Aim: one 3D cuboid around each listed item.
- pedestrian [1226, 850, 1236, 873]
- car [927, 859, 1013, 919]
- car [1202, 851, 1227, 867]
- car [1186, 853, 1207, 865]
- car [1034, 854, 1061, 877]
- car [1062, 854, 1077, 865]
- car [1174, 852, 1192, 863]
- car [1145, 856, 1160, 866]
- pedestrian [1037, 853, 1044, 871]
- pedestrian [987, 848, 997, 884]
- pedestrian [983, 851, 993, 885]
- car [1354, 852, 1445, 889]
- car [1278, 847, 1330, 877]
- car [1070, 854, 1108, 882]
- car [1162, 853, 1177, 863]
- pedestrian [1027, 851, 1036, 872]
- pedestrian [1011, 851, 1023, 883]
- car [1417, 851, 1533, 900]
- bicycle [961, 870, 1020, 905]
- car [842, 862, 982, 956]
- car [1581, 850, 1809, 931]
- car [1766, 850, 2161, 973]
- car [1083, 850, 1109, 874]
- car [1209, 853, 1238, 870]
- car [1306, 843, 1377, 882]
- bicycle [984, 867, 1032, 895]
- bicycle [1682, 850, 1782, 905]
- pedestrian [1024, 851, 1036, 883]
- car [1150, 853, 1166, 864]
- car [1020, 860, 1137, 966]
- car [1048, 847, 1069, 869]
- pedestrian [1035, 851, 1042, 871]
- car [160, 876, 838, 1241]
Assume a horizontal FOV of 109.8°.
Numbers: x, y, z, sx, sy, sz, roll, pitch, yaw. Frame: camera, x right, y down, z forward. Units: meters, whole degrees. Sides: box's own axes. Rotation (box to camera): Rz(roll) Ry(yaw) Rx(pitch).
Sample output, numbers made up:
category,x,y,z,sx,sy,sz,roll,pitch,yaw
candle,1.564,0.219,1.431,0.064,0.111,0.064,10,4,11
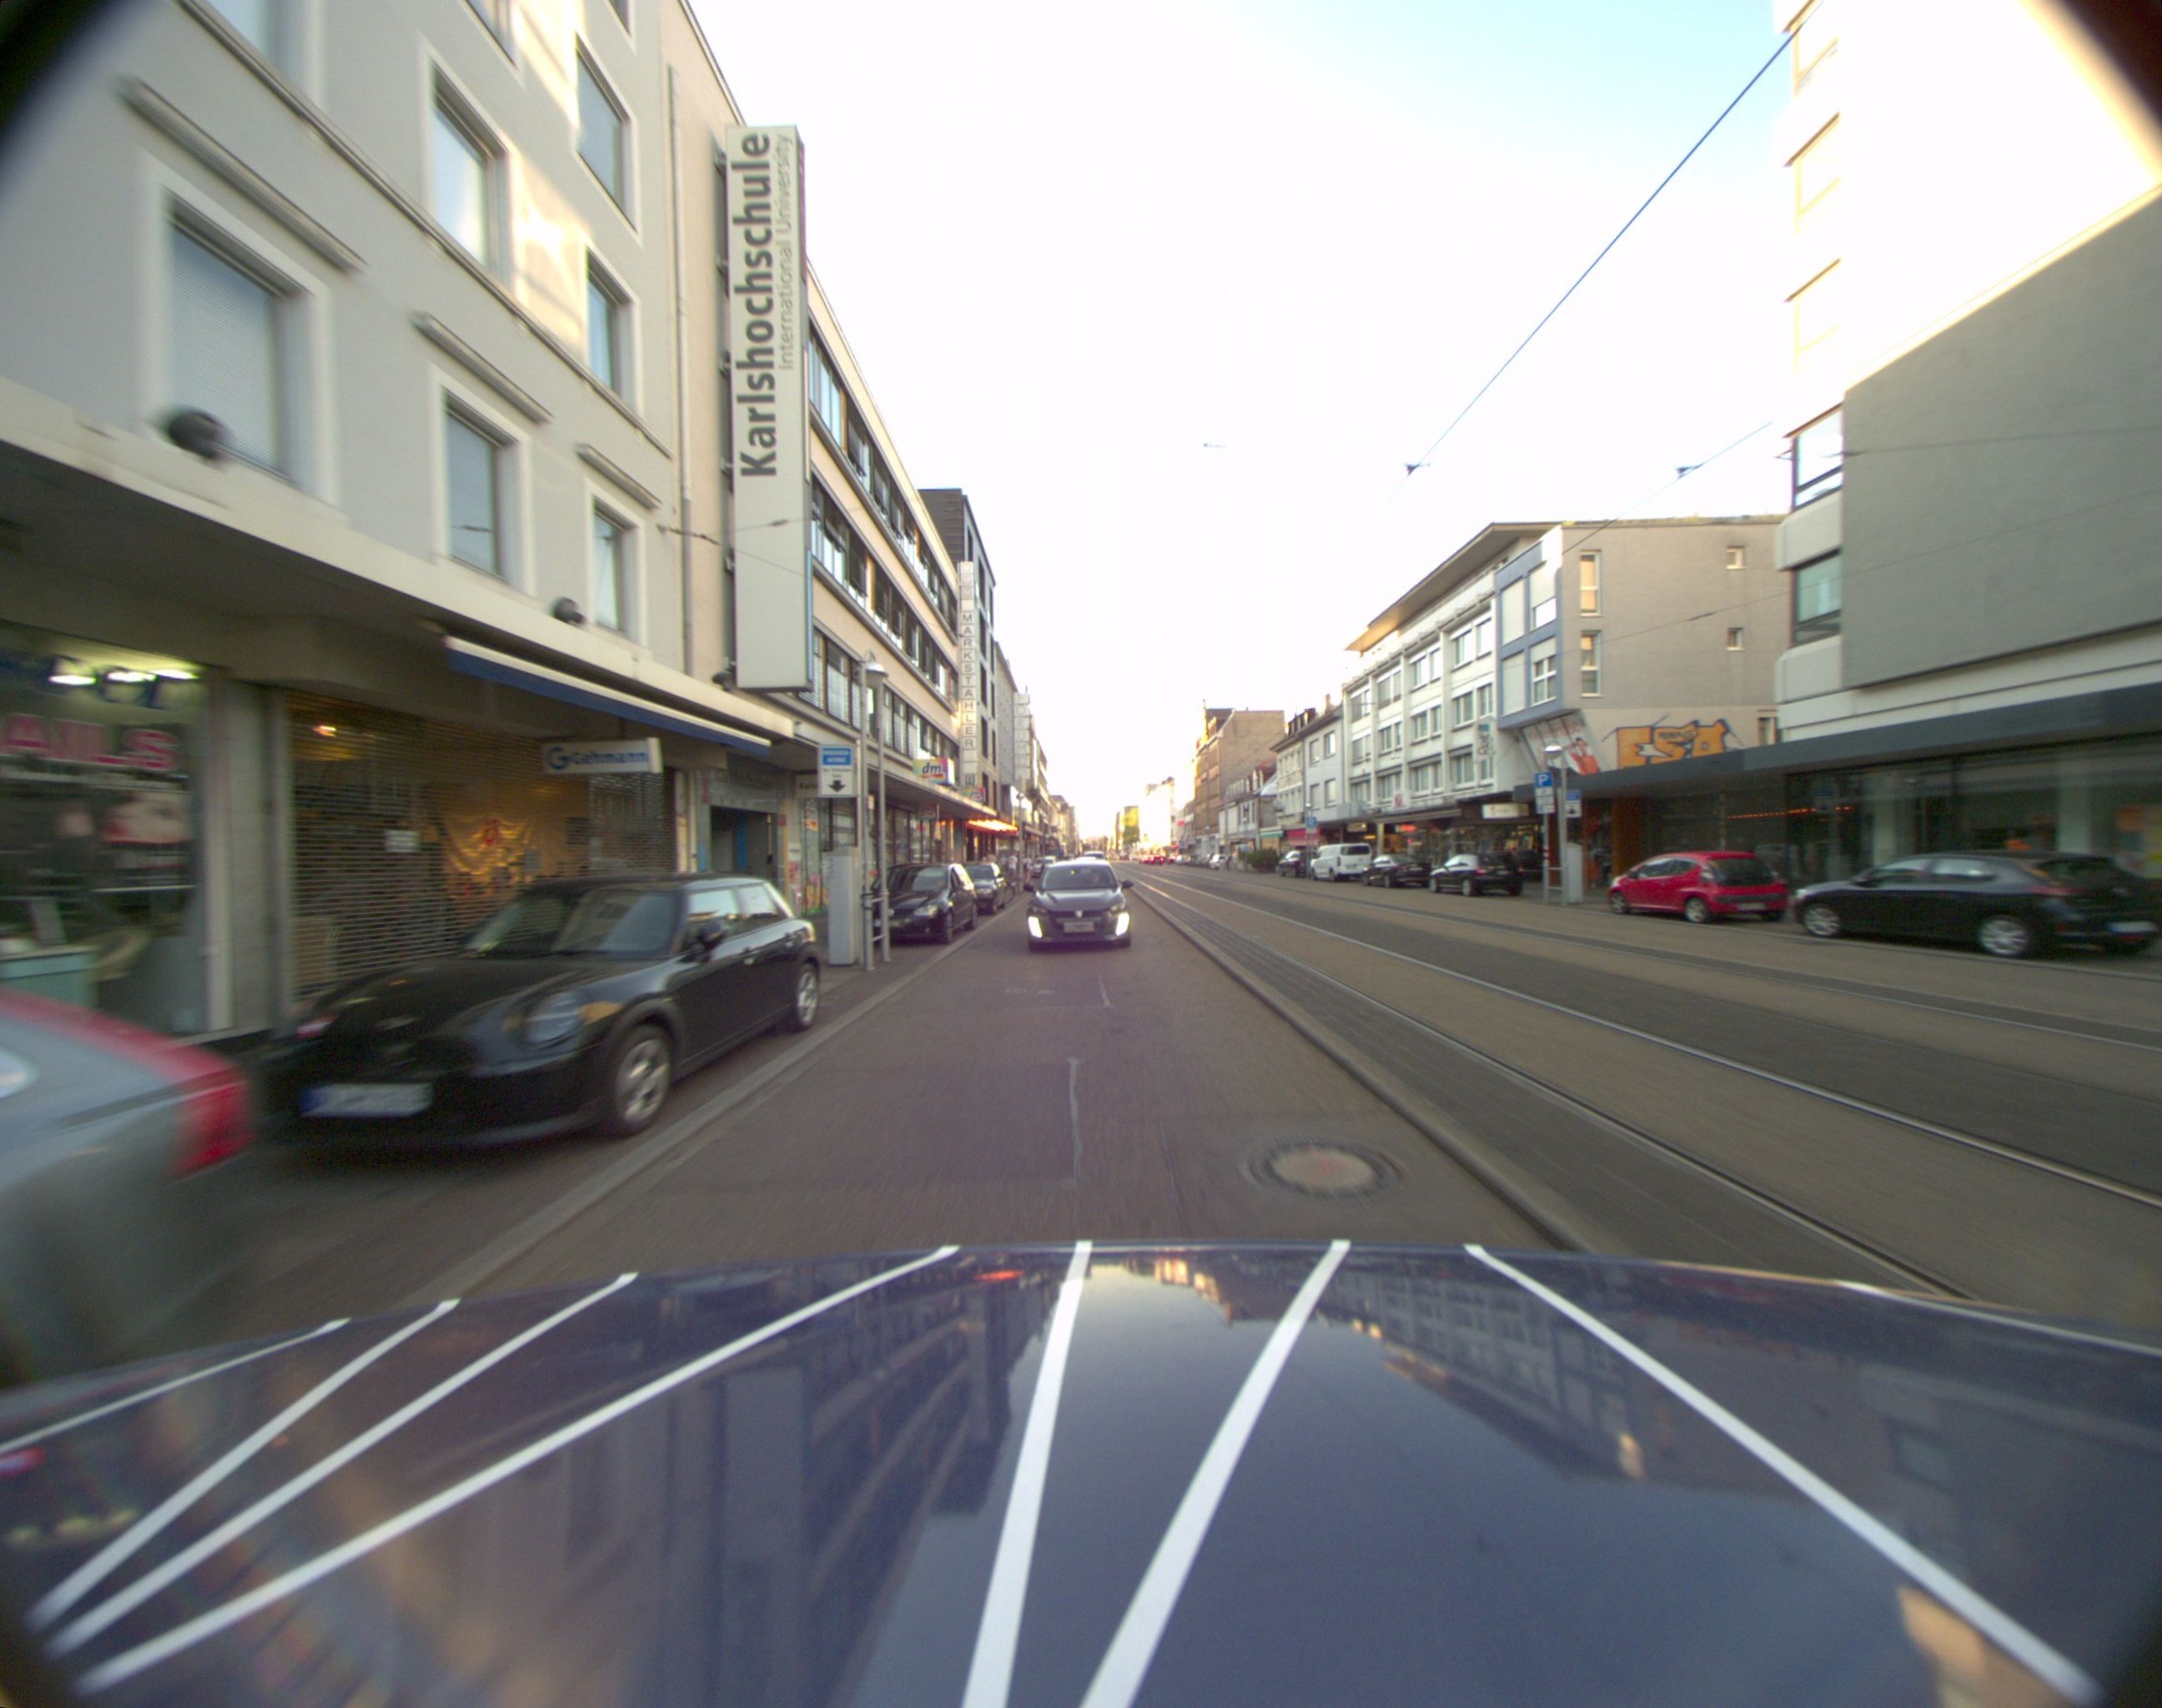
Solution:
category,x,y,z,sx,sy,sz,roll,pitch,yaw
pedestrian,13.419,0.671,68.098,0.823,2.002,0.713,0,1,16
car,-3.046,0.917,21.747,1.748,1.503,4.258,1,0,1
car,14.080,0.510,80.532,1.914,1.535,4.552,-1,0,1
car,14.563,0.610,95.788,1.998,1.543,4.000,-1,0,1
car,-2.396,0.806,54.930,1.682,1.534,3.886,1,0,1
car,-1.669,0.788,111.753,1.999,1.627,5.243,-1,0,0
car,14.415,0.445,107.113,1.998,1.543,4.206,-1,0,1
car,11.520,1.044,122.395,1.998,1.543,4.000,-1,0,1
pedestrian,-3.838,0.734,72.782,0.610,1.743,0.605,-1,1,0
pedestrian,-4.796,0.650,41.098,0.456,1.888,0.421,-1,1,0
pedestrian,-5.238,0.797,42.737,0.452,1.888,0.421,-1,1,0
car,13.635,0.663,32.839,1.998,1.457,4.558,-2,0,0
car,13.880,0.483,47.470,1.863,1.711,4.527,-2,0,0
car,0.455,0.768,42.588,1.998,1.450,4.000,-1,0,0
car,14.988,0.682,129.024,1.998,1.543,4.000,-1,0,1
pedestrian,-4.757,0.696,73.028,0.711,2.002,0.824,-1,1,0
pedestrian,-3.462,0.694,41.153,0.610,1.743,0.605,-1,1,0
car,13.491,0.684,26.335,1.690,1.503,4.445,-1,0,0
bicycle,-3.036,1.115,25.527,1.890,1.131,0.676,-1,0,-2
car,-3.106,0.944,14.840,1.724,1.503,4.167,1,0,1
car,13.326,0.709,16.892,1.690,1.503,4.215,-2,0,1
car,13.276,0.724,11.692,1.690,1.503,4.215,-2,0,1
car,1.177,0.615,60.899,1.999,1.805,3.999,-1,0,-1
car,14.004,0.694,74.939,1.998,1.535,4.878,-2,0,1
car,13.736,0.423,40.433,1.960,1.965,5.162,-1,0,0
bicycle,-2.997,1.108,31.283,1.890,1.070,0.676,1,0,-2
bicycle,17.370,0.613,20.312,1.973,1.417,0.834,-1,1,-1
pedestrian,-2.774,0.701,41.384,0.605,1.717,0.646,-1,1,0
car,11.221,0.584,111.192,1.998,1.543,4.000,0,0,1
car,-0.048,0.913,13.717,1.732,1.513,4.333,-2,0,0
car,-2.415,0.422,82.730,2.046,2.371,5.584,-1,0,0
pedestrian,-3.727,0.648,66.614,0.610,1.743,0.605,-1,1,0
car,-3.267,0.975,5.434,1.690,1.503,4.035,1,0,1
